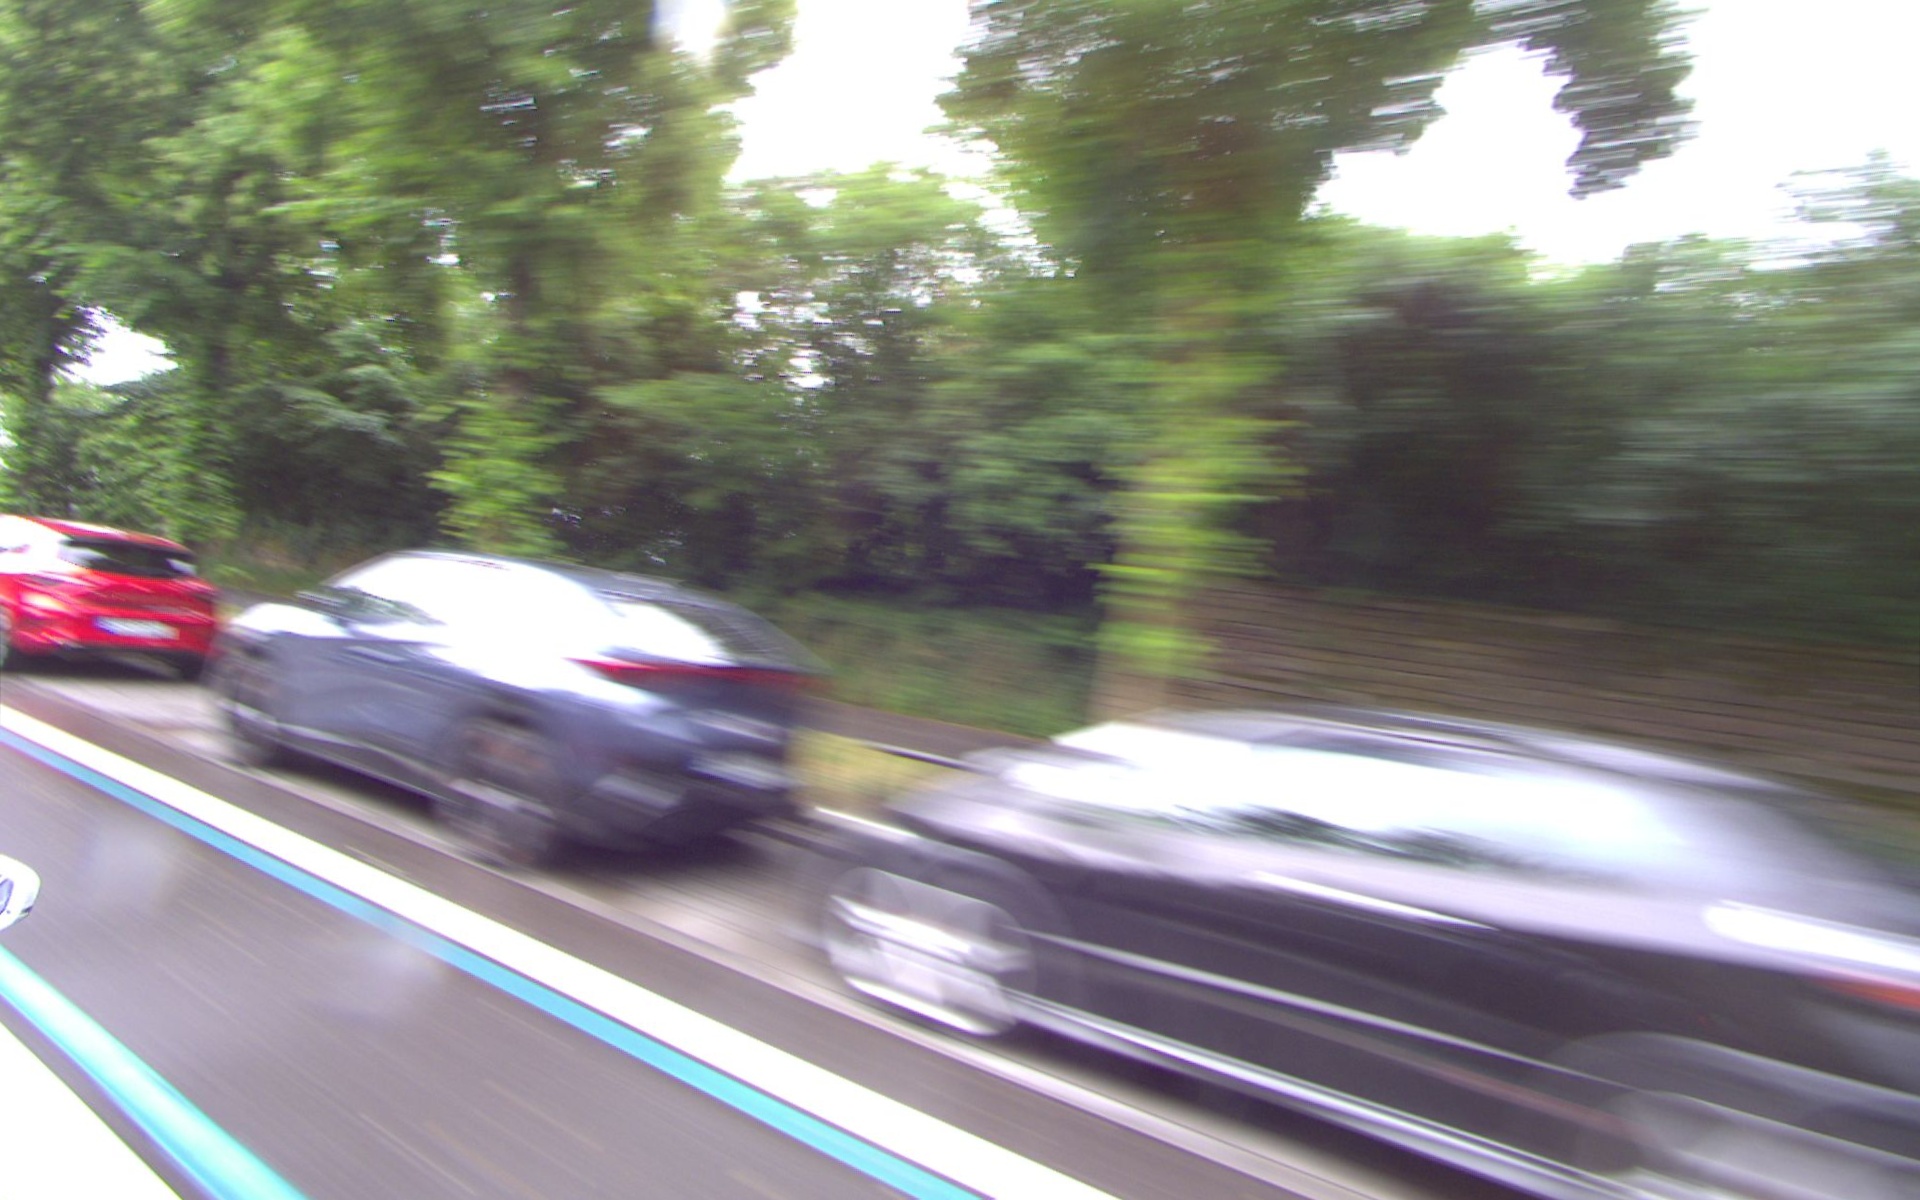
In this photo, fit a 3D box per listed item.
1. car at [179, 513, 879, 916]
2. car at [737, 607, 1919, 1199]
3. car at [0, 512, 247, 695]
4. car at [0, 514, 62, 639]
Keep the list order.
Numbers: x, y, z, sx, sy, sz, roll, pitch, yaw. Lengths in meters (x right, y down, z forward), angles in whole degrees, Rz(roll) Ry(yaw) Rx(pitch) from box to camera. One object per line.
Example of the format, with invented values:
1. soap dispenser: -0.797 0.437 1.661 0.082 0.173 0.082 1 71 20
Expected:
1. car: -2.906 0.519 6.458 4.424 1.607 1.760 6 -3 32
2. car: 1.353 1.066 3.865 4.075 1.472 1.691 7 -3 29
3. car: -9.375 -0.085 10.390 4.097 1.469 1.690 6 -3 32
4. car: -13.378 -0.510 12.946 3.685 1.469 1.610 6 -3 32
